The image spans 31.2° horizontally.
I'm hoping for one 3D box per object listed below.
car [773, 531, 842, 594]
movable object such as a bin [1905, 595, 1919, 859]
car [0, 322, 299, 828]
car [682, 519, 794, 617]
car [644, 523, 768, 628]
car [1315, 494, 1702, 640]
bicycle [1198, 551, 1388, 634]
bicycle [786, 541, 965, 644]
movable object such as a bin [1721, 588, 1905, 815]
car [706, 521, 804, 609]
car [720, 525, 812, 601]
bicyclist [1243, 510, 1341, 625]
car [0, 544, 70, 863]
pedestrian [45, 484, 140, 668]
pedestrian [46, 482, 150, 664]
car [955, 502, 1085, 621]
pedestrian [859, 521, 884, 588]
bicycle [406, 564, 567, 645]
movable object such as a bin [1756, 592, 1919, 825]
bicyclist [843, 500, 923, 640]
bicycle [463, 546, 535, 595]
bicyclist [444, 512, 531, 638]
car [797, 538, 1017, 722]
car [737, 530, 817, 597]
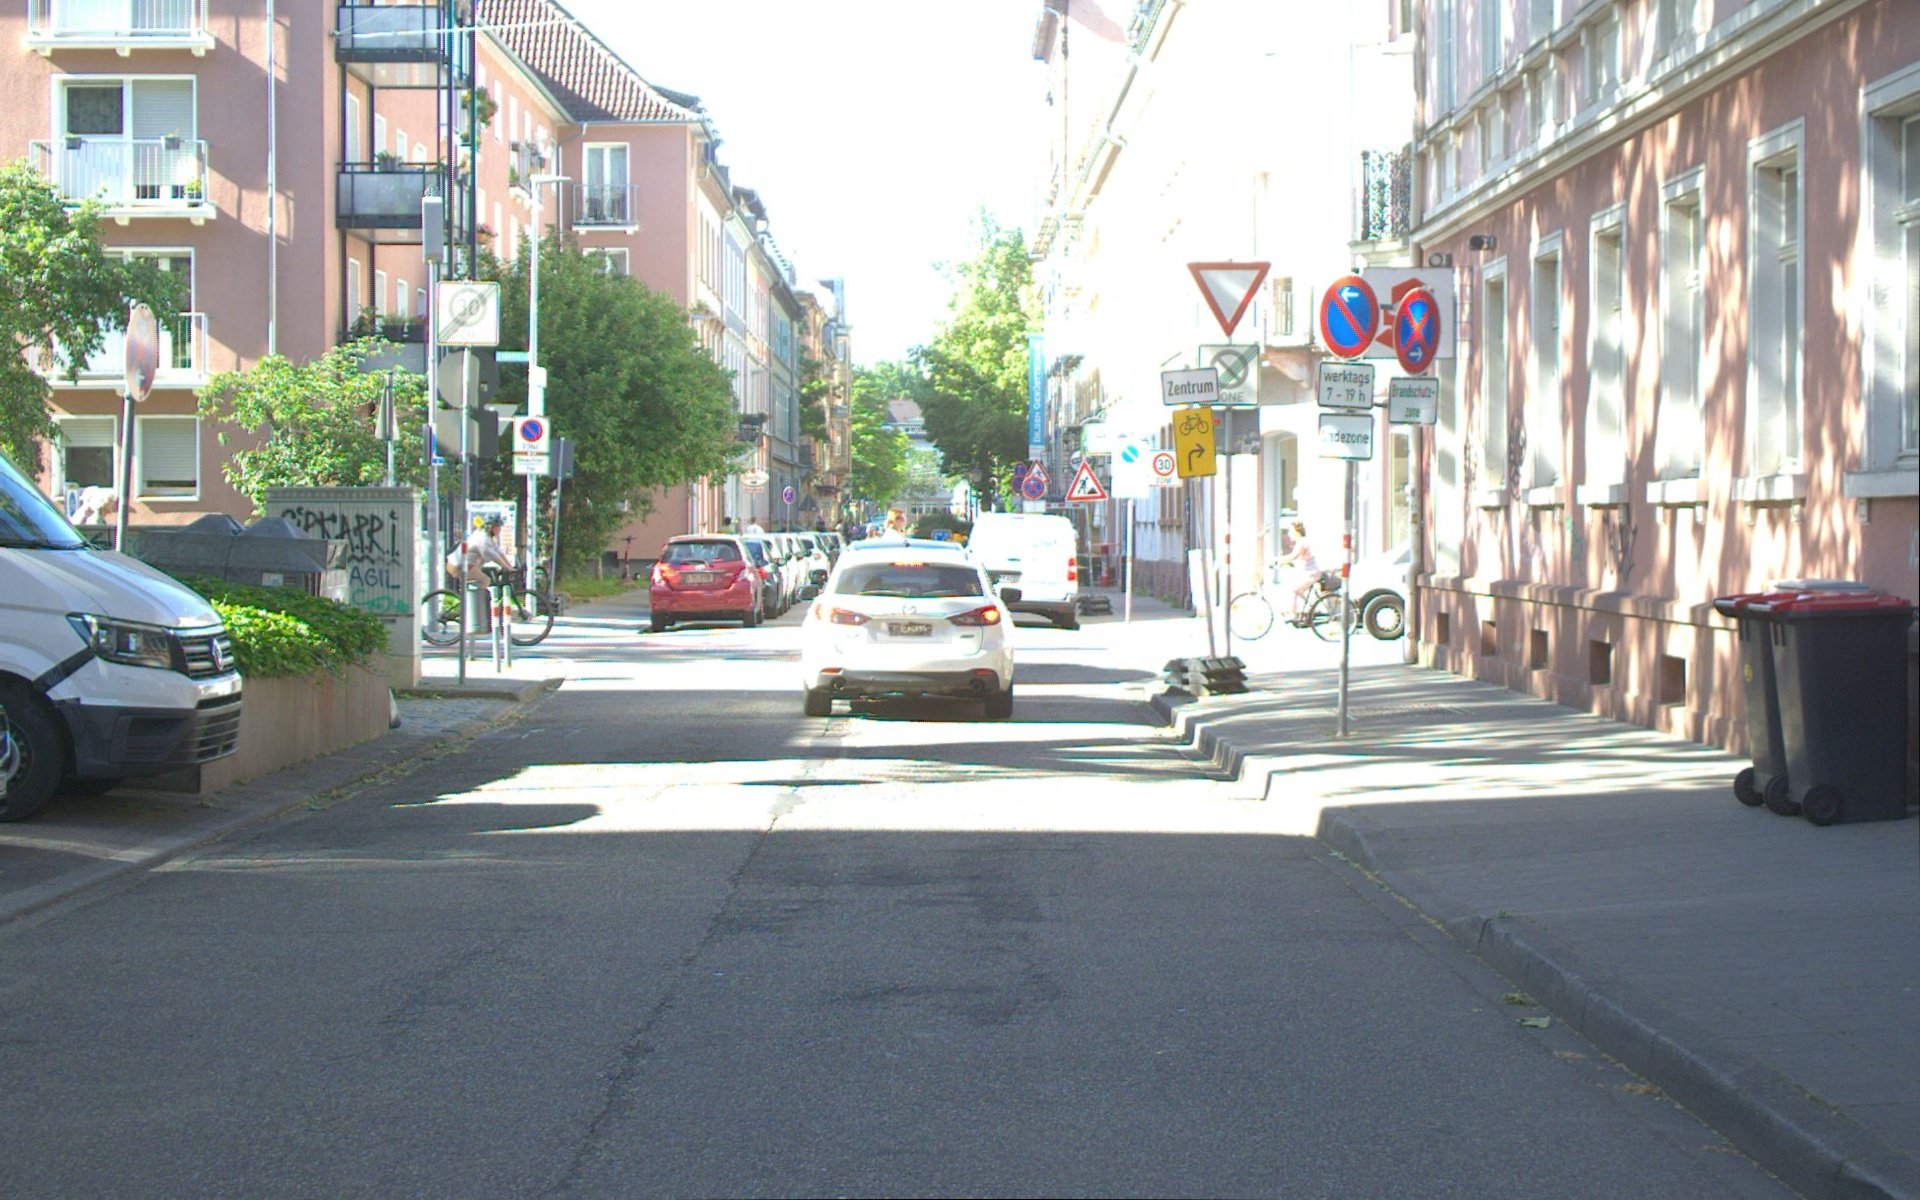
[{"bbox_3d":[-3.869,-0.961,87.770,1.572,1.580,3.611,0,1,0],"label":"car"},{"bbox_3d":[4.381,0.532,14.220,0.729,1.100,0.693,0,0,-2],"label":"movable object such as a bin"},{"bbox_3d":[-7.256,-0.279,18.795,6.739,2.546,2.146,3,1,2],"label":"car"},{"bbox_3d":[-3.913,-0.580,61.150,1.720,1.677,3.726,0,1,0],"label":"car"},{"bbox_3d":[-4.067,-0.427,55.553,1.769,1.583,3.726,0,2,-1],"label":"car"},{"bbox_3d":[7.555,-0.449,47.417,4.896,1.922,1.997,1,-1,25],"label":"car"},{"bbox_3d":[4.423,-0.097,45.649,2.426,1.076,0.790,0,0,13],"label":"bicycle"},{"bbox_3d":[-1.037,-0.097,42.689,2.163,1.250,0.833,0,0,2],"label":"bicycle"},{"bbox_3d":[4.159,0.486,16.798,0.745,1.082,0.634,0,0,2],"label":"movable object such as a bin"},{"bbox_3d":[-3.951,-0.673,66.664,1.635,1.650,3.785,0,1,0],"label":"car"},{"bbox_3d":[-4.114,-0.785,73.450,1.720,1.571,3.726,0,1,0],"label":"car"},{"bbox_3d":[4.413,-0.431,45.632,1.196,1.511,0.840,0,0,13],"label":"bicyclist"},{"bbox_3d":[-6.679,0.380,16.005,4.500,1.465,1.929,3,1,1],"label":"car"},{"bbox_3d":[-8.773,-0.246,34.793,0.853,1.809,0.815,2,0,-13],"label":"pedestrian"},{"bbox_3d":[-8.952,-0.285,35.708,0.966,1.832,0.682,2,1,-15],"label":"pedestrian"},{"bbox_3d":[0.985,-0.668,58.754,1.942,1.941,4.079,1,1,-3],"label":"car"},{"bbox_3d":[-2.400,-1.232,93.020,0.647,1.791,0.639,0,0,1],"label":"pedestrian"},{"bbox_3d":[-5.886,0.056,42.790,1.927,0.983,0.663,0,0,-3],"label":"bicycle"},{"bbox_3d":[4.162,0.501,16.166,0.701,1.069,0.596,0,0,2],"label":"movable object such as a bin"},{"bbox_3d":[-0.952,-0.375,42.724,0.924,1.714,0.942,0,0,2],"label":"bicyclist"},{"bbox_3d":[-8.974,-0.573,66.851,0.603,0.929,1.915,-1,1,-33],"label":"bicycle"},{"bbox_3d":[-5.872,-0.316,42.783,0.983,1.547,0.761,0,0,-1],"label":"bicyclist"},{"bbox_3d":[-0.476,0.220,30.665,1.823,1.509,3.824,0,1,-1],"label":"car"},{"bbox_3d":[-4.102,-0.828,77.462,1.602,1.472,3.567,0,1,0],"label":"car"}]
